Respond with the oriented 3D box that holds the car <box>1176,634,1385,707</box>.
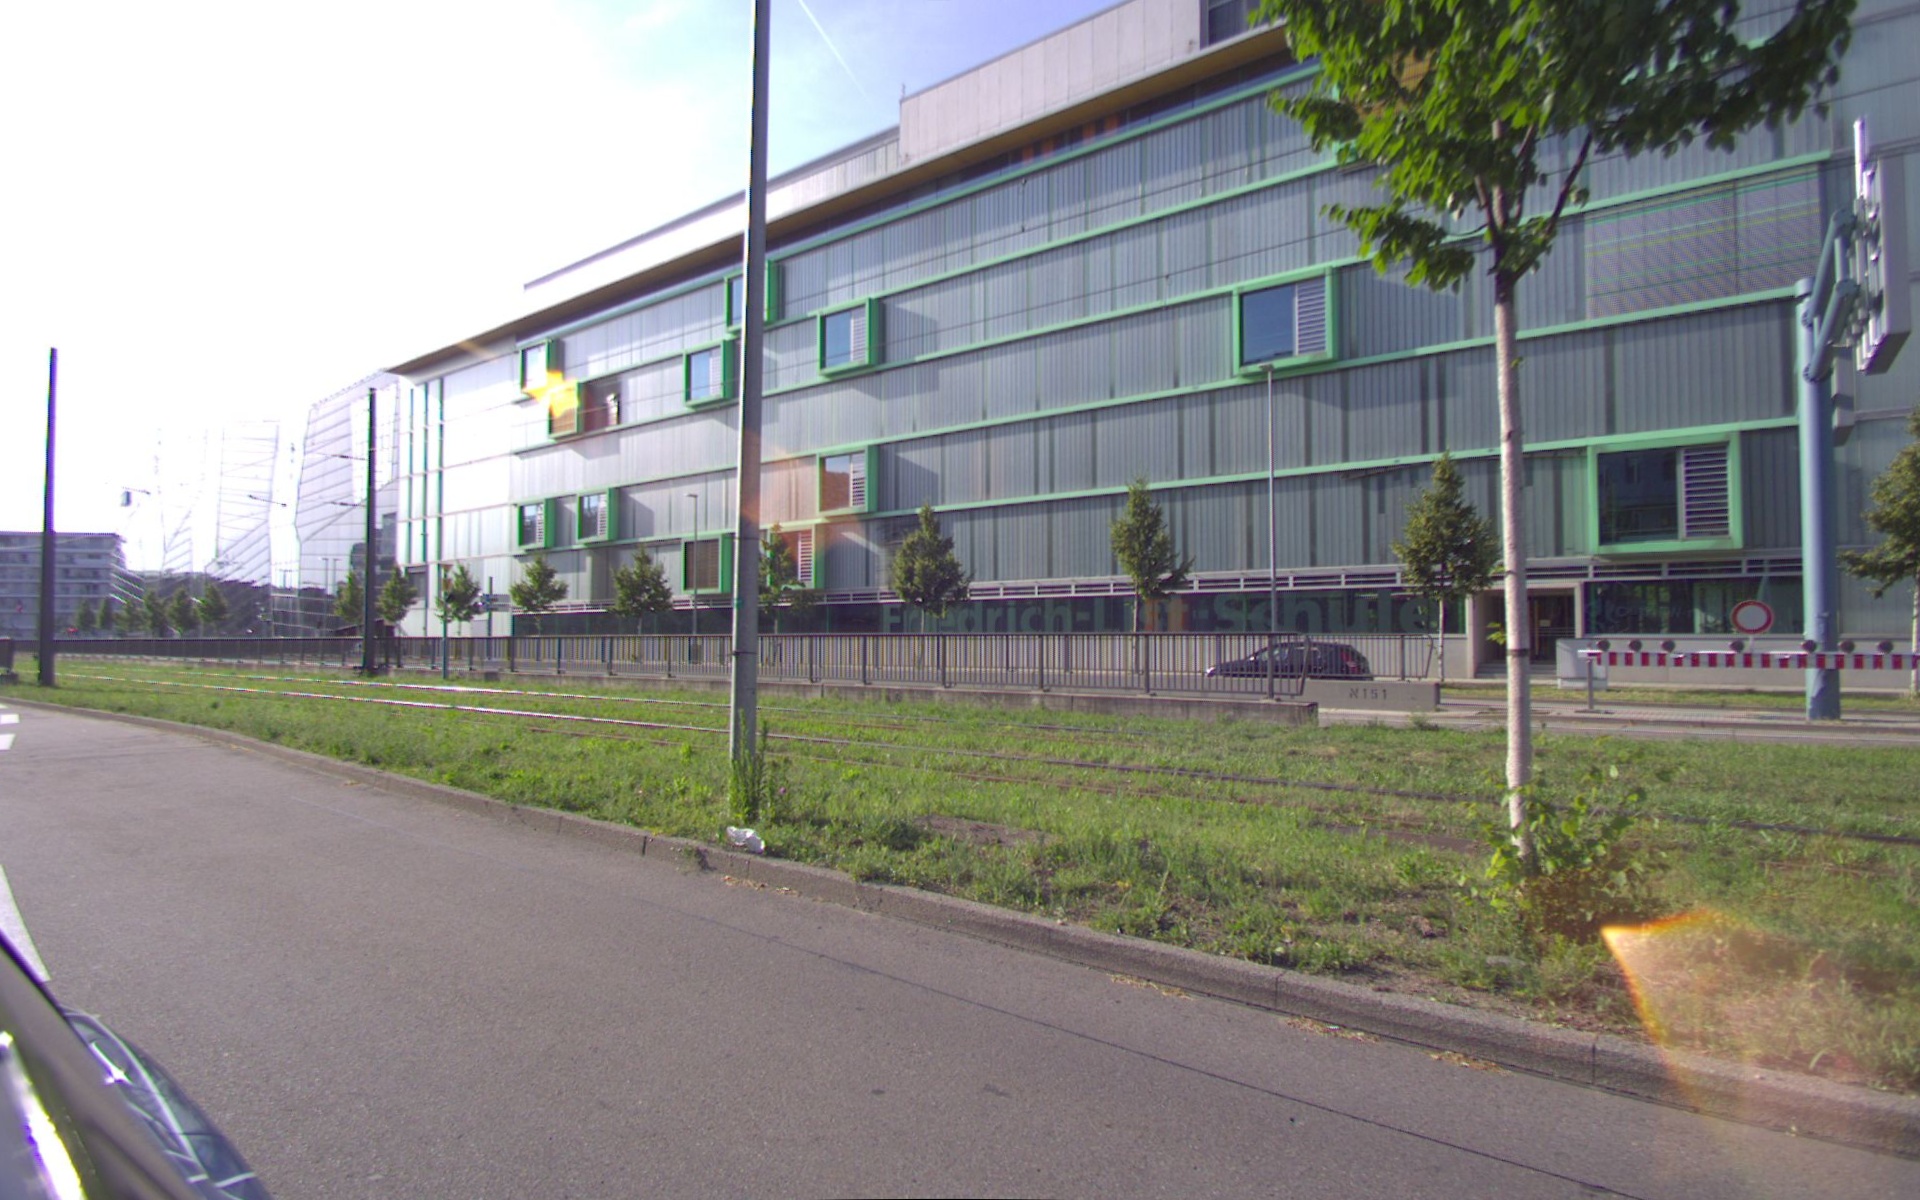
[{"bbox_3d":[8.172,1.768,26.031,4.719,1.700,1.975,-3,-3,38],"label":"car"}]
